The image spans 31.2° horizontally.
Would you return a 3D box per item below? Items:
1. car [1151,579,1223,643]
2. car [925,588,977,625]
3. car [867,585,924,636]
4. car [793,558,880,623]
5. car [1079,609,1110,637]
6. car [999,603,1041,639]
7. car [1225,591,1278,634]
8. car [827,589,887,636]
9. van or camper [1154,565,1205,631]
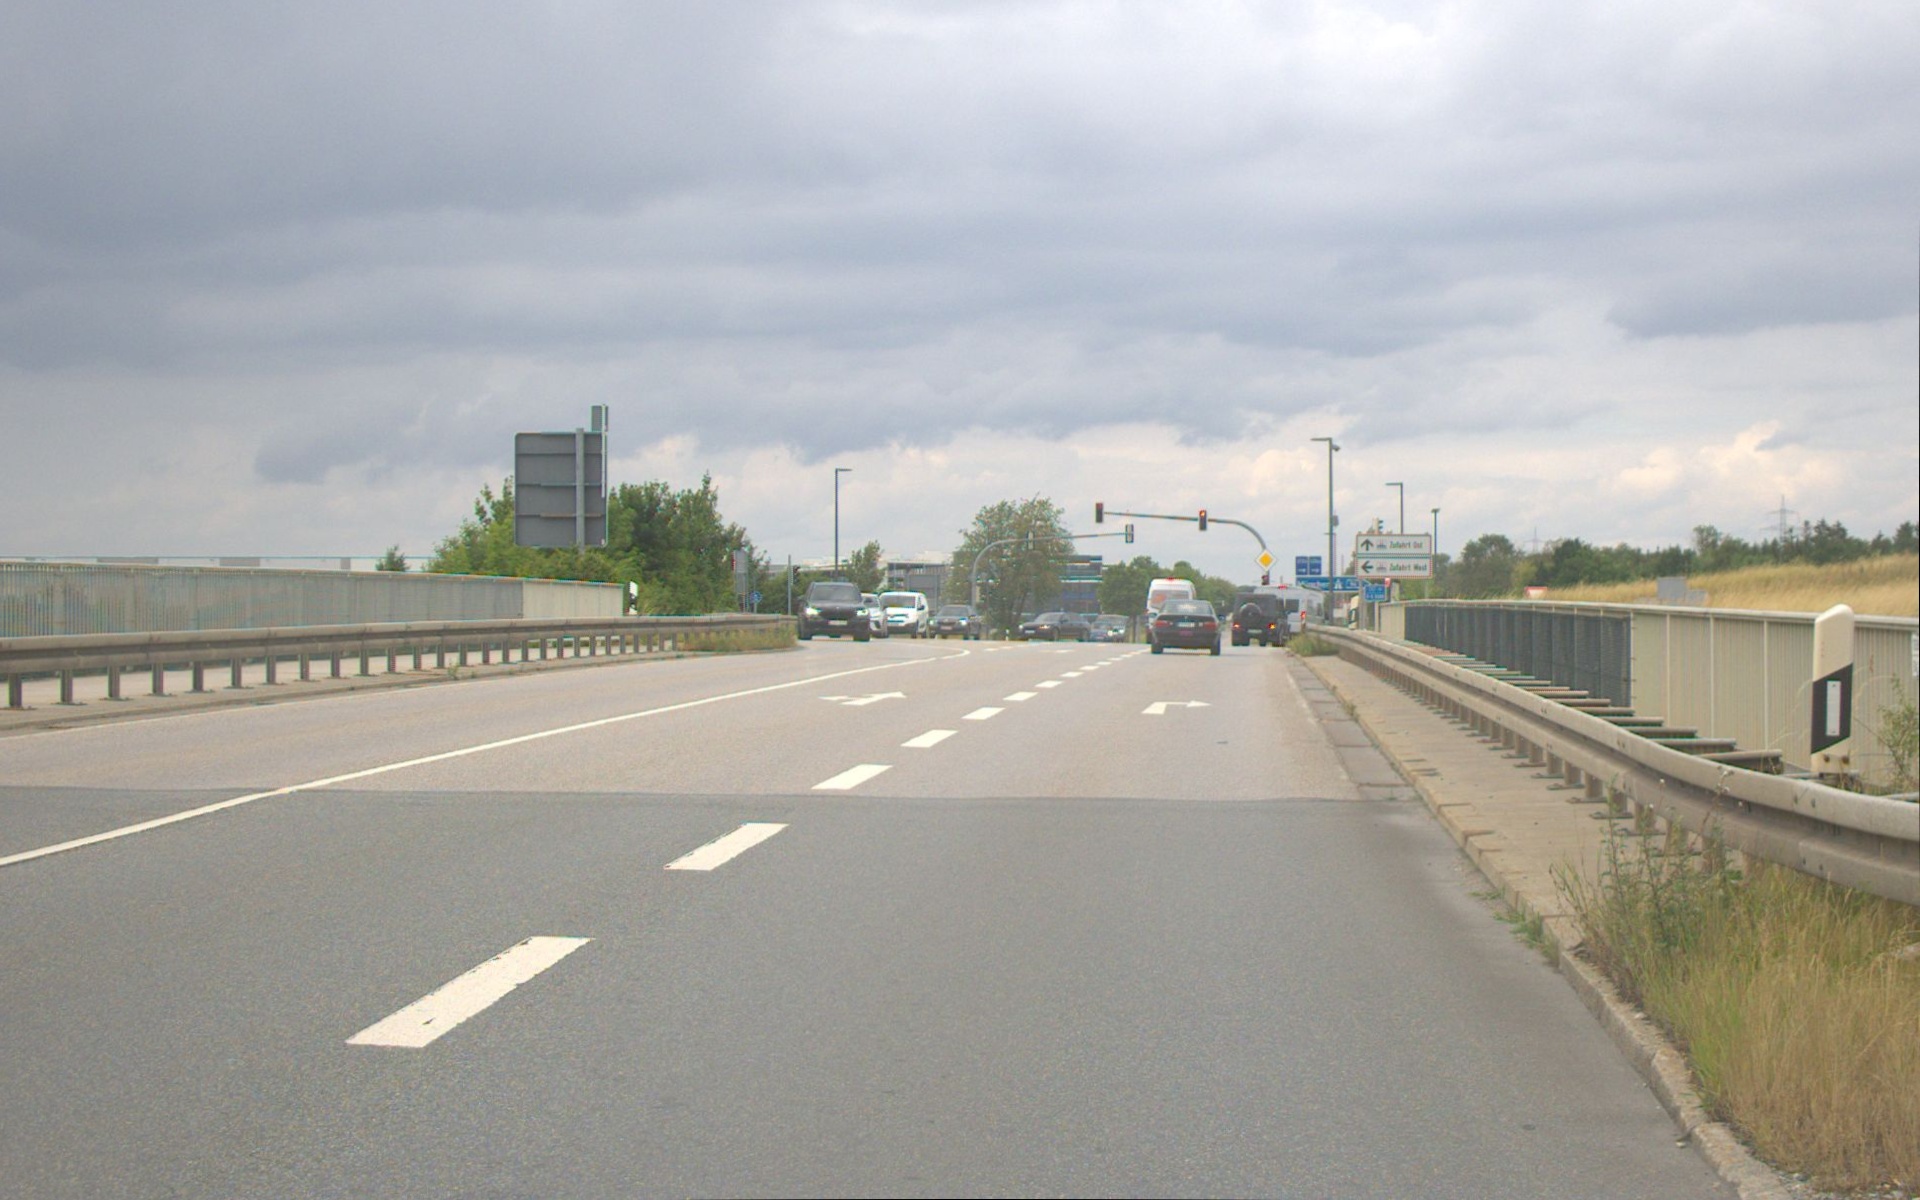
[{"bbox_3d":[5.562,0.273,83.929,1.518,1.480,3.614,1,0,7],"label":"car"},{"bbox_3d":[-0.379,0.304,152.253,1.583,1.552,4.144,2,0,10],"label":"car"},{"bbox_3d":[-2.516,0.427,135.242,1.953,1.868,4.820,2,-1,2],"label":"car"},{"bbox_3d":[-3.607,-0.260,101.363,1.994,1.726,4.761,4,0,4],"label":"car"},{"bbox_3d":[7.820,1.346,199.916,1.693,1.364,3.943,2,3,3],"label":"car"},{"bbox_3d":[2.912,1.013,165.479,1.808,1.363,4.786,2,4,3],"label":"car"},{"bbox_3d":[10.849,0.474,127.814,1.682,1.539,3.614,1,0,9],"label":"car"},{"bbox_3d":[-3.437,0.438,115.698,1.711,1.481,4.279,2,-1,2],"label":"car"},{"bbox_3d":[9.007,-0.083,140.858,1.876,2.572,3.999,3,0,5],"label":"van or camper"}]
